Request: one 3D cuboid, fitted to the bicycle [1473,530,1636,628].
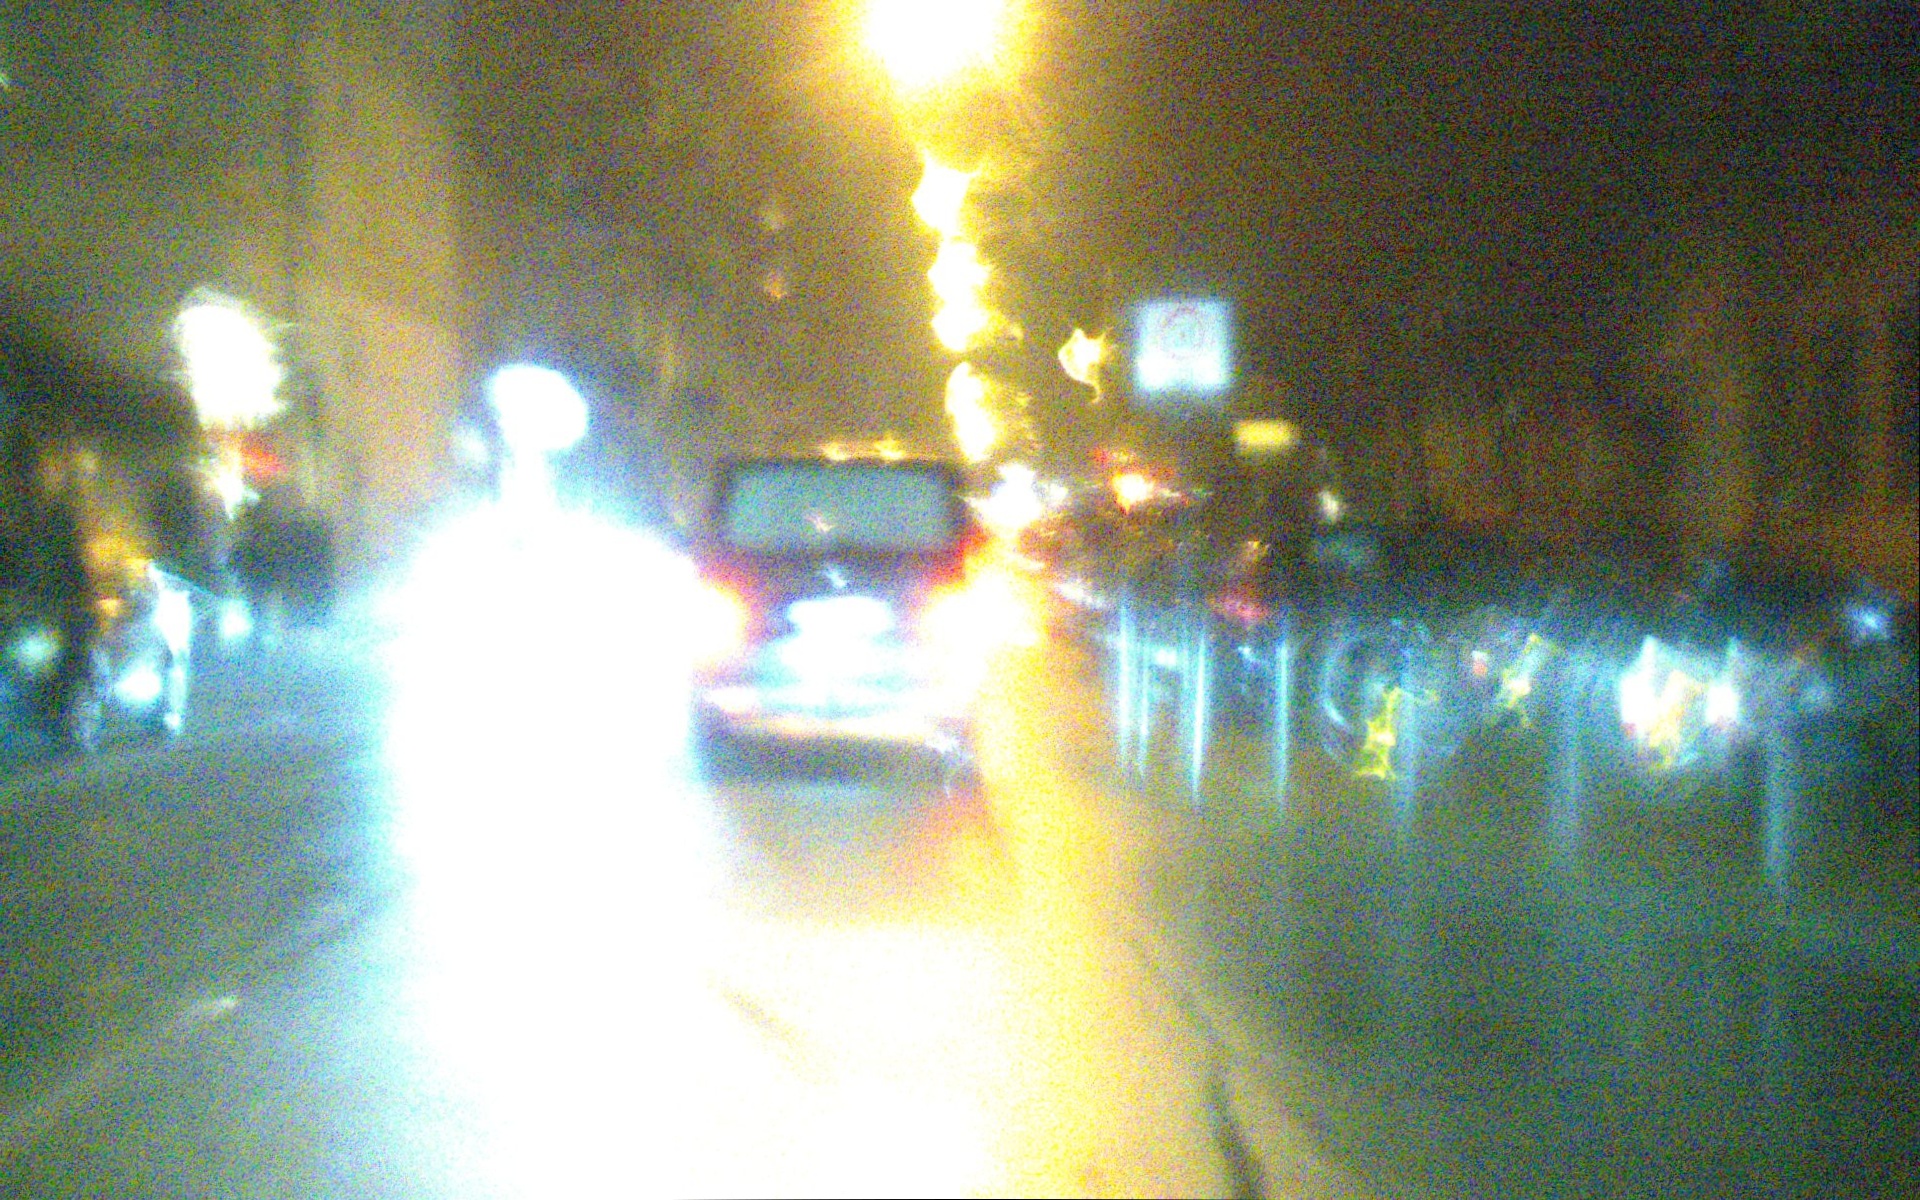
[{"bbox_3d":[7.685,-0.275,44.460,1.971,1.187,0.510,-2,1,-6],"label":"bicycle"}]

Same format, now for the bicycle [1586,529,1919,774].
[{"bbox_3d":[4.120,0.265,17.842,1.664,1.230,0.385,-1,1,3],"label":"bicycle"}]

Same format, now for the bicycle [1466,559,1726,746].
[{"bbox_3d":[4.048,0.332,21.950,1.596,1.154,0.539,-1,1,8],"label":"bicycle"}]

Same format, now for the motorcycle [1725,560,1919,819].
[{"bbox_3d":[4.422,0.384,15.770,1.632,1.120,0.653,-2,1,-6],"label":"motorcycle"}]

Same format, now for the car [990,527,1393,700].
[{"bbox_3d":[2.284,0.131,34.089,3.553,1.605,1.713,1,1,-21],"label":"car"}]

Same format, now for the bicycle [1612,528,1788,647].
[{"bbox_3d":[7.621,-0.137,35.422,1.684,1.142,0.429,-3,2,-7],"label":"bicycle"}]

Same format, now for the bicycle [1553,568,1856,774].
[{"bbox_3d":[4.171,0.392,19.300,1.595,1.108,0.418,-1,1,-3],"label":"bicycle"}]

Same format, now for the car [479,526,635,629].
[{"bbox_3d":[-5.601,-0.344,48.199,1.654,1.354,4.222,1,1,0],"label":"car"}]

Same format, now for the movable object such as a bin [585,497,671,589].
[{"bbox_3d":[-5.444,-0.933,56.372,1.208,1.454,1.107,2,1,3],"label":"movable object such as a bin"}]

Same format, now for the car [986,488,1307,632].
[{"bbox_3d":[2.602,-0.568,47.575,4.234,1.852,1.716,-2,1,-35],"label":"car"}]

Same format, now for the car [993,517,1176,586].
[{"bbox_3d":[2.737,-1.075,75.464,3.671,1.455,1.604,-1,1,-24],"label":"car"}]

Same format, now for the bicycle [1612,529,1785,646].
[{"bbox_3d":[7.729,-0.138,35.997,1.684,1.142,0.429,-3,2,-7],"label":"bicycle"}]

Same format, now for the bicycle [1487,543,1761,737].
[{"bbox_3d":[4.097,0.241,21.240,1.595,1.154,0.418,-1,1,-3],"label":"bicycle"}]

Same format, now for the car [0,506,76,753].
[{"bbox_3d":[-6.542,0.113,22.133,1.546,1.438,3.564,2,1,-15],"label":"car"}]

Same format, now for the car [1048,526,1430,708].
[{"bbox_3d":[2.504,0.152,30.949,3.038,1.546,1.505,1,1,-21],"label":"car"}]

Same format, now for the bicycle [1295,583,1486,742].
[{"bbox_3d":[2.702,0.390,21.609,1.132,0.944,0.267,-2,1,-2],"label":"bicycle"}]

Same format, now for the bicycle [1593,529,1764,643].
[{"bbox_3d":[7.748,-0.157,37.096,1.684,1.142,0.542,-3,2,-7],"label":"bicycle"}]

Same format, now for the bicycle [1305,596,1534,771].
[{"bbox_3d":[2.544,0.461,19.053,1.210,0.944,0.302,1,1,-3],"label":"bicycle"}]

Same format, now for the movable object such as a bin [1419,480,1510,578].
[{"bbox_3d":[7.928,-1.117,54.081,1.209,1.446,0.999,-4,1,1],"label":"movable object such as a bin"}]

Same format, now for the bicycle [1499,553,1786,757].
[{"bbox_3d":[4.027,0.317,20.309,1.595,1.154,0.418,-1,1,-3],"label":"bicycle"}]

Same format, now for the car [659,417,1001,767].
[{"bbox_3d":[-0.758,-0.065,22.412,1.993,2.043,4.000,1,0,0],"label":"car"}]

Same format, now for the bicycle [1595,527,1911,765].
[{"bbox_3d":[4.224,0.240,18.359,1.580,1.230,0.418,-1,1,3],"label":"bicycle"}]

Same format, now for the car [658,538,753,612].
[{"bbox_3d":[-5.439,-0.567,73.859,1.686,1.450,4.316,2,2,0],"label":"car"}]

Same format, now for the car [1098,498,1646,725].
[{"bbox_3d":[3.069,0.053,25.603,3.699,1.517,1.657,-2,1,-24],"label":"car"}]

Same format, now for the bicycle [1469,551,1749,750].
[{"bbox_3d":[3.909,0.296,20.747,1.595,1.154,0.418,-1,1,-3],"label":"bicycle"}]

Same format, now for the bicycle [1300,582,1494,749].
[{"bbox_3d":[2.710,0.403,21.330,1.132,0.971,0.249,-2,2,-2],"label":"bicycle"}]

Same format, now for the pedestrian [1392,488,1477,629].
[{"bbox_3d":[6.411,-0.551,46.515,0.838,1.829,0.947,-4,0,-3],"label":"pedestrian"}]

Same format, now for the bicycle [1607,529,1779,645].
[{"bbox_3d":[7.787,-0.146,36.531,1.684,1.142,0.486,-3,2,-7],"label":"bicycle"}]
